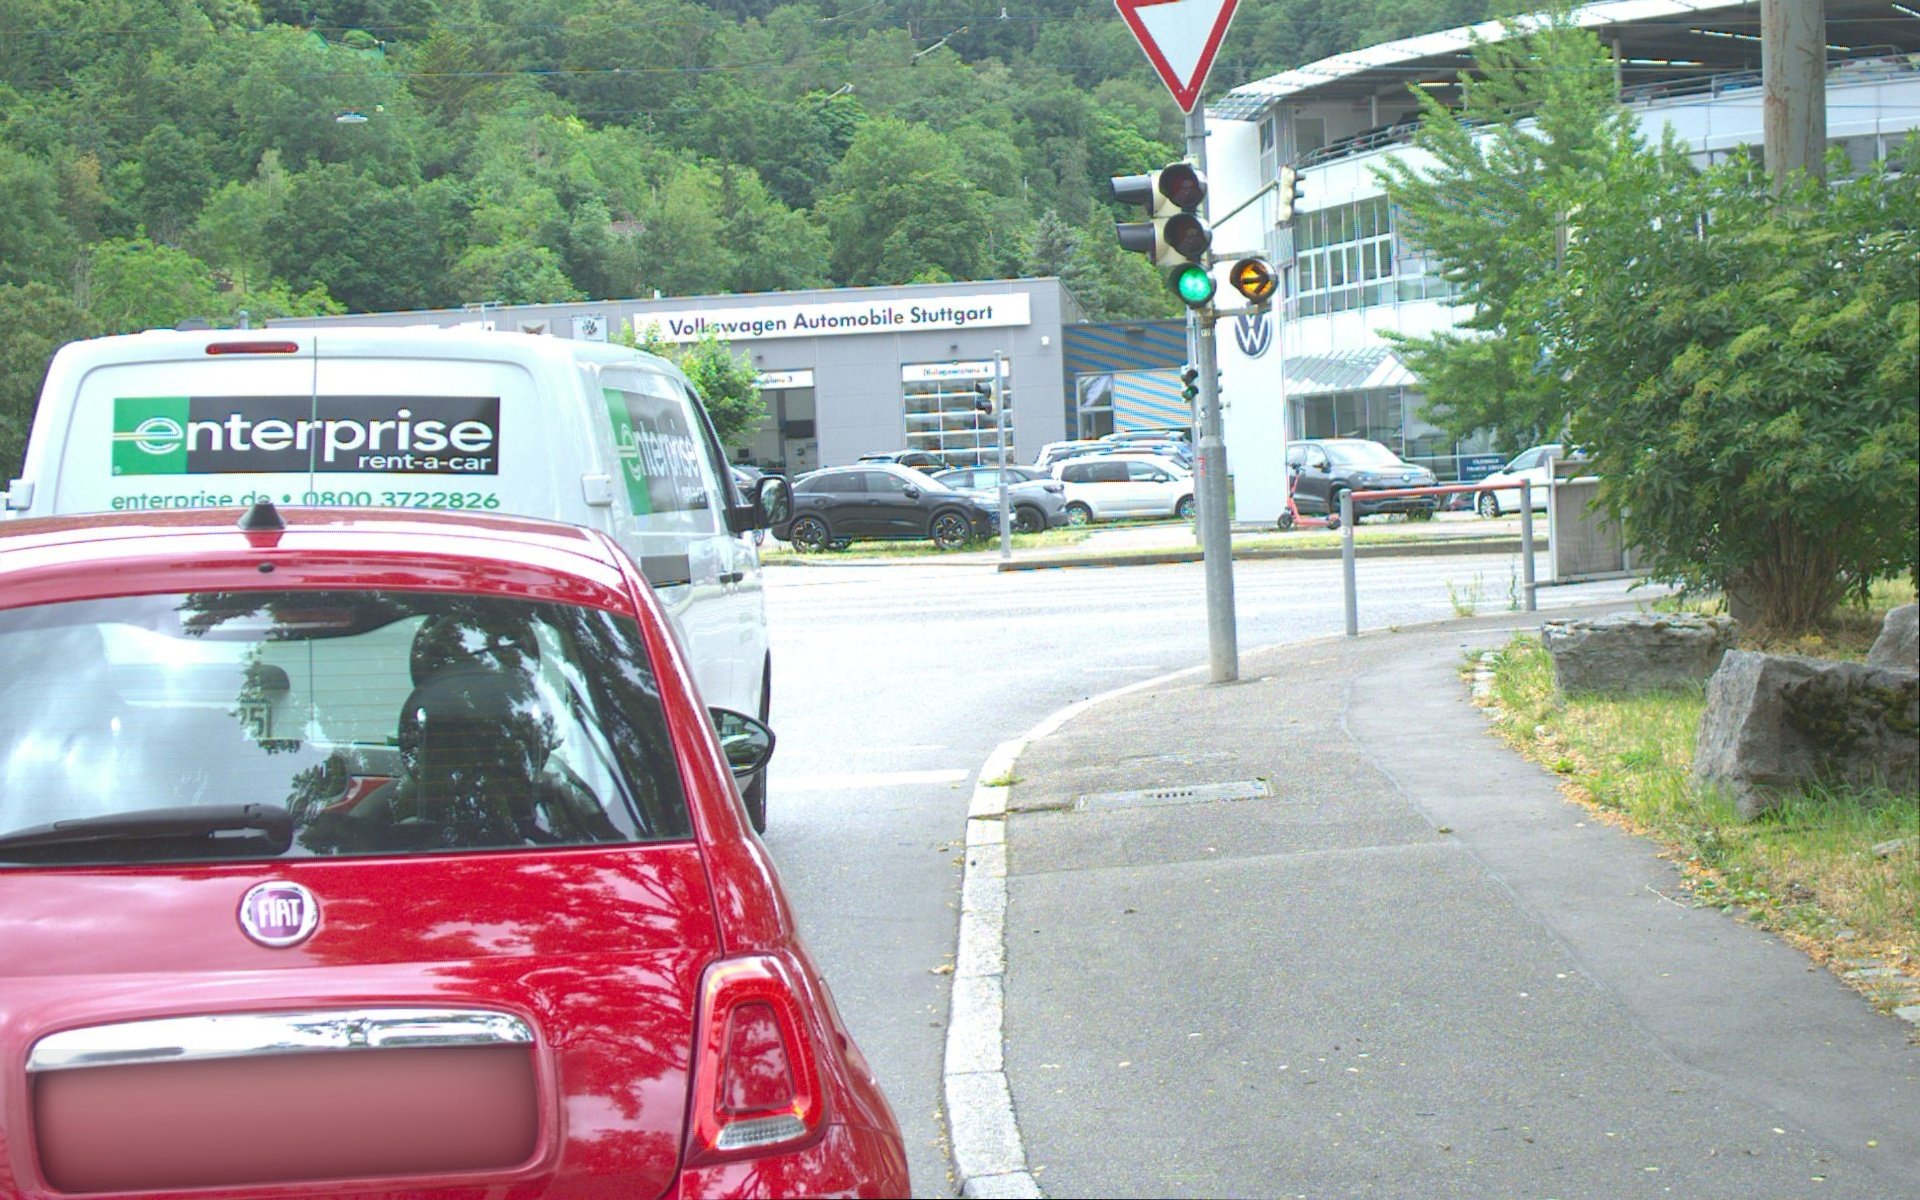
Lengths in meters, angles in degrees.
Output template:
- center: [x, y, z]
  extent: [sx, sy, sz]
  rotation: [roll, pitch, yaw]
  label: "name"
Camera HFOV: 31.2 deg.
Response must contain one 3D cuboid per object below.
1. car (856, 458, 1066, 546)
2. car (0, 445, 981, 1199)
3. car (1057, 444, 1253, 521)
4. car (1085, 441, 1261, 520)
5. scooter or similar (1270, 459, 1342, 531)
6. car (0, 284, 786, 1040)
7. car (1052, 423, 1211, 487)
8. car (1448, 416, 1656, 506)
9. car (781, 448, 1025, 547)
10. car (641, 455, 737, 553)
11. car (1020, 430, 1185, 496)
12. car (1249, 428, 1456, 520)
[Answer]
- center: [-0.001, -1.991, 70.148]
  extent: [3.986, 1.700, 2.001]
  rotation: [1, 0, -9]
  label: "car"
- center: [-1.221, 0.521, 5.812]
  extent: [1.697, 1.520, 4.002]
  rotation: [1, 2, -12]
  label: "car"
- center: [4.582, -2.768, 81.230]
  extent: [4.495, 1.723, 2.000]
  rotation: [1, 0, 1]
  label: "car"
- center: [5.604, -3.148, 90.824]
  extent: [4.495, 1.990, 2.000]
  rotation: [1, 0, 0]
  label: "car"
- center: [6.296, -1.912, 62.607]
  extent: [1.200, 1.283, 0.575]
  rotation: [1, 0, -5]
  label: "scooter or similar"
- center: [-1.800, 0.035, 11.758]
  extent: [1.999, 2.033, 4.832]
  rotation: [1, 3, 2]
  label: "car"
- center: [5.001, -4.230, 100.598]
  extent: [4.495, 1.723, 2.000]
  rotation: [1, 0, -1]
  label: "car"
- center: [11.512, -2.683, 67.094]
  extent: [1.993, 1.634, 4.001]
  rotation: [1, 1, -27]
  label: "car"
- center: [-0.998, -1.854, 61.465]
  extent: [3.989, 1.634, 1.999]
  rotation: [1, 5, 14]
  label: "car"
- center: [-6.201, -2.175, 79.194]
  extent: [1.993, 2.007, 5.018]
  rotation: [-3, 0, -3]
  label: "car"
- center: [3.971, -3.835, 96.269]
  extent: [4.495, 1.723, 2.000]
  rotation: [1, 0, -1]
  label: "car"
- center: [7.392, -2.370, 65.107]
  extent: [1.993, 1.634, 4.001]
  rotation: [-2, 2, -27]
  label: "car"
